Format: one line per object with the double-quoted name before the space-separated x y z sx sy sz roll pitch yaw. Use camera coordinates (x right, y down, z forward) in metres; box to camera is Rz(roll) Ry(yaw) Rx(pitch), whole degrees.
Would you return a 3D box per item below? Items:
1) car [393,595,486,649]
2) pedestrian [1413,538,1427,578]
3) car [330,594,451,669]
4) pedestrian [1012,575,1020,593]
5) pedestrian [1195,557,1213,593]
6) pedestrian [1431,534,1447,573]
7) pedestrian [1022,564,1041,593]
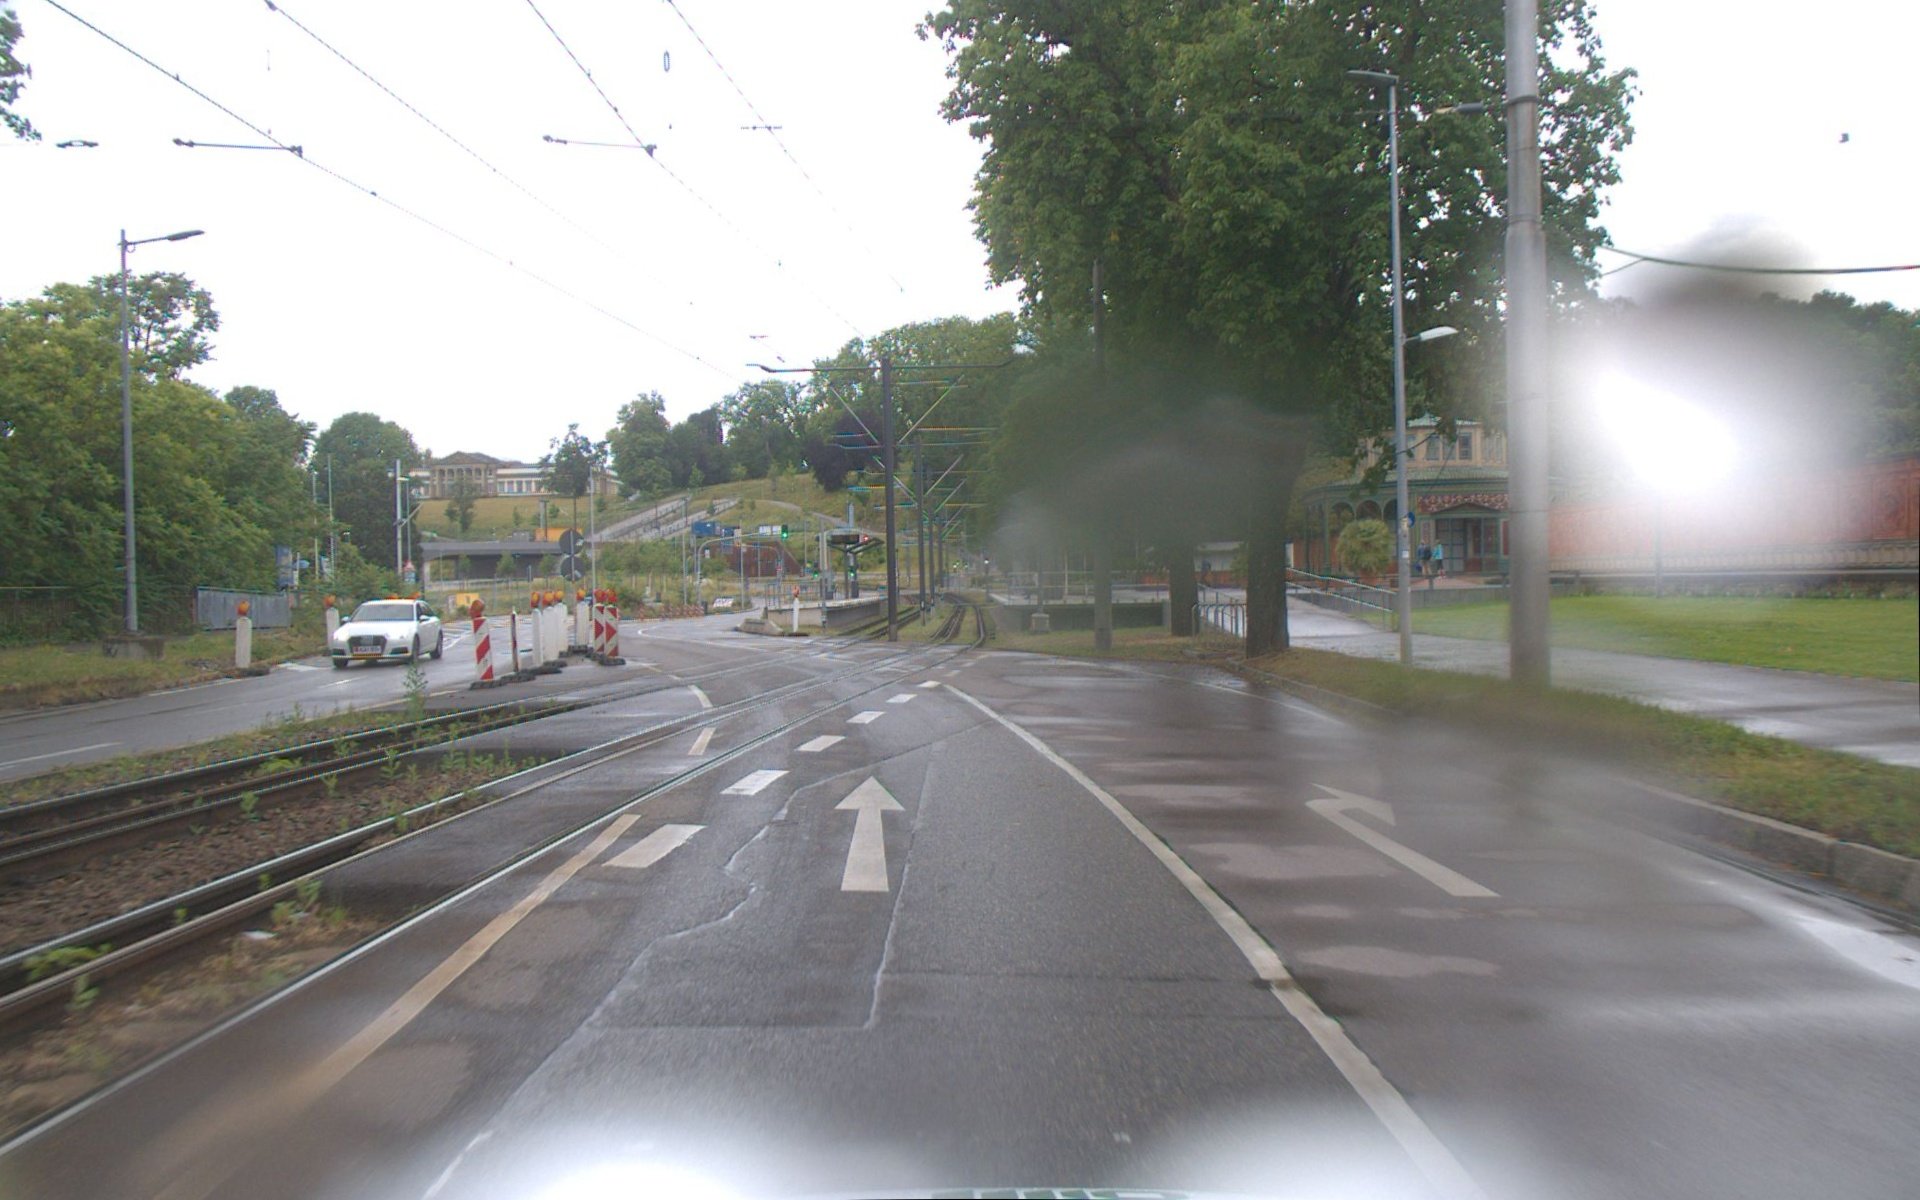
"car" -16.327 0.660 52.070 1.675 1.525 4.314 -3 1 -3
"pedestrian" 20.360 -1.864 73.171 0.520 1.741 0.696 1 -1 11
"car" -13.174 0.686 38.532 1.677 1.525 4.712 -3 1 -8
"pedestrian" 3.178 -0.903 94.011 0.428 1.026 0.551 -2 0 1
"pedestrian" 12.637 -1.310 85.704 0.706 1.821 1.182 -3 1 1
"pedestrian" 21.028 -2.016 72.594 0.540 1.686 0.468 -1 -1 35
"pedestrian" 2.824 -0.843 65.131 0.590 1.138 0.518 3 -1 -16
